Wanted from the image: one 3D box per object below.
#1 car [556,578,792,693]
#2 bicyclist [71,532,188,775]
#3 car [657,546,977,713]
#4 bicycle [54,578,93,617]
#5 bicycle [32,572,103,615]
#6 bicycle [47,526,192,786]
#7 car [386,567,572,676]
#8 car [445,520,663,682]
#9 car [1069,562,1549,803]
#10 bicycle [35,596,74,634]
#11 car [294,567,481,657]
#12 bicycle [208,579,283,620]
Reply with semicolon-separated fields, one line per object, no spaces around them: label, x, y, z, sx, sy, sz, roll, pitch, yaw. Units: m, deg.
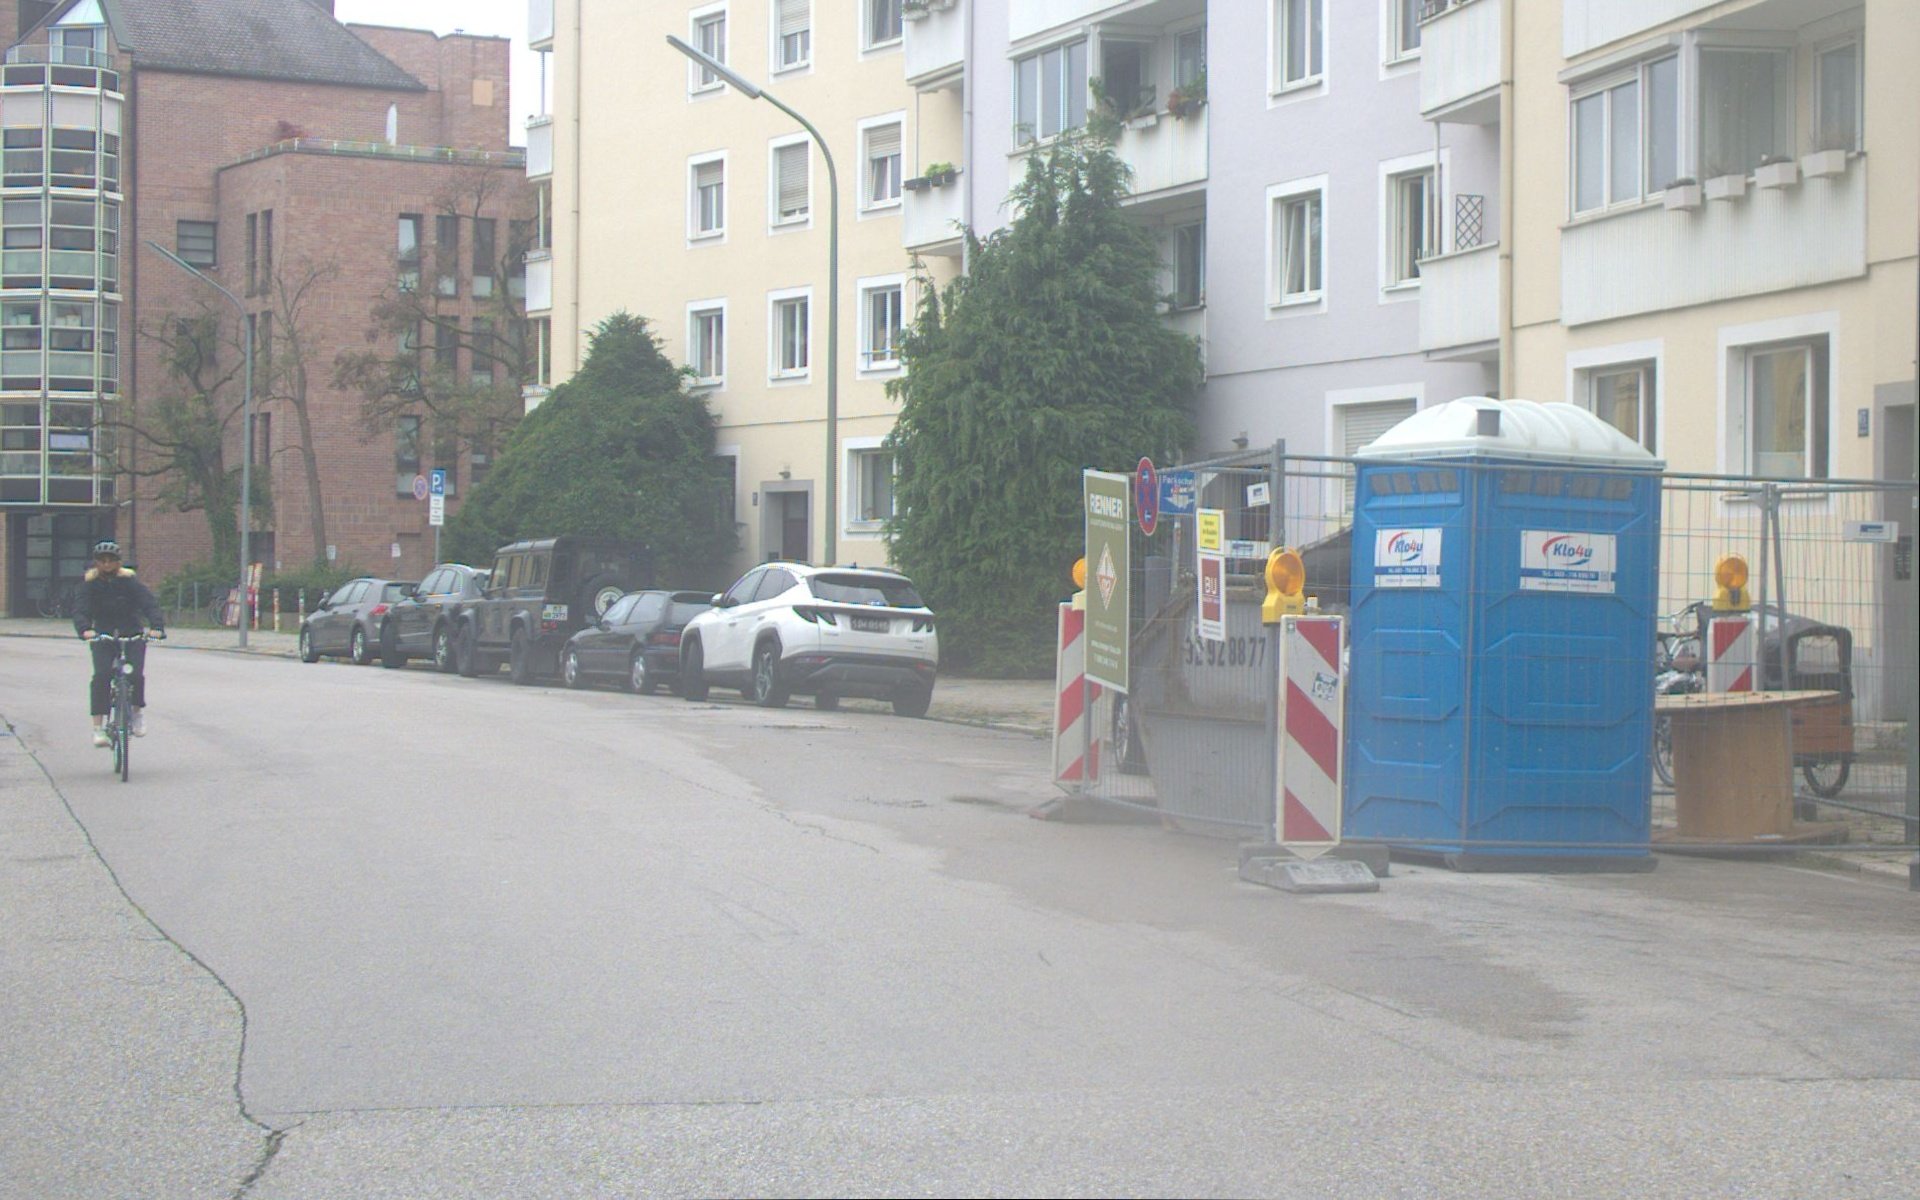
car;-3.647;0.435;43.314;1.658;1.344;3.805;2;-1;-26
bicyclist;-5.988;0.368;24.832;0.747;1.711;1.032;0;1;-10
car;-1.690;0.291;38.642;2.025;1.672;4.614;2;1;-23
bicycle;-25.500;-0.074;98.858;0.486;1.056;1.996;2;0;-32
bicycle;-25.188;-0.180;97.049;1.848;1.143;0.488;2;0;-23
bicycle;-6.069;0.346;24.963;0.795;1.716;3.116;-2;2;-11
car;-7.378;0.307;52.407;1.658;1.560;4.515;2;-1;-23
car;-5.693;-0.024;47.695;1.747;2.074;4.517;2;1;-23
car;2.292;0.506;23.992;1.830;1.437;4.630;2;1;-14
bicycle;-25.957;0.427;98.543;0.486;1.056;1.996;2;-1;-32
car;-9.528;0.209;57.013;1.754;1.391;4.045;2;-1;-29
bicycle;-17.690;-0.015;85.149;1.700;0.962;0.546;2;0;-29
